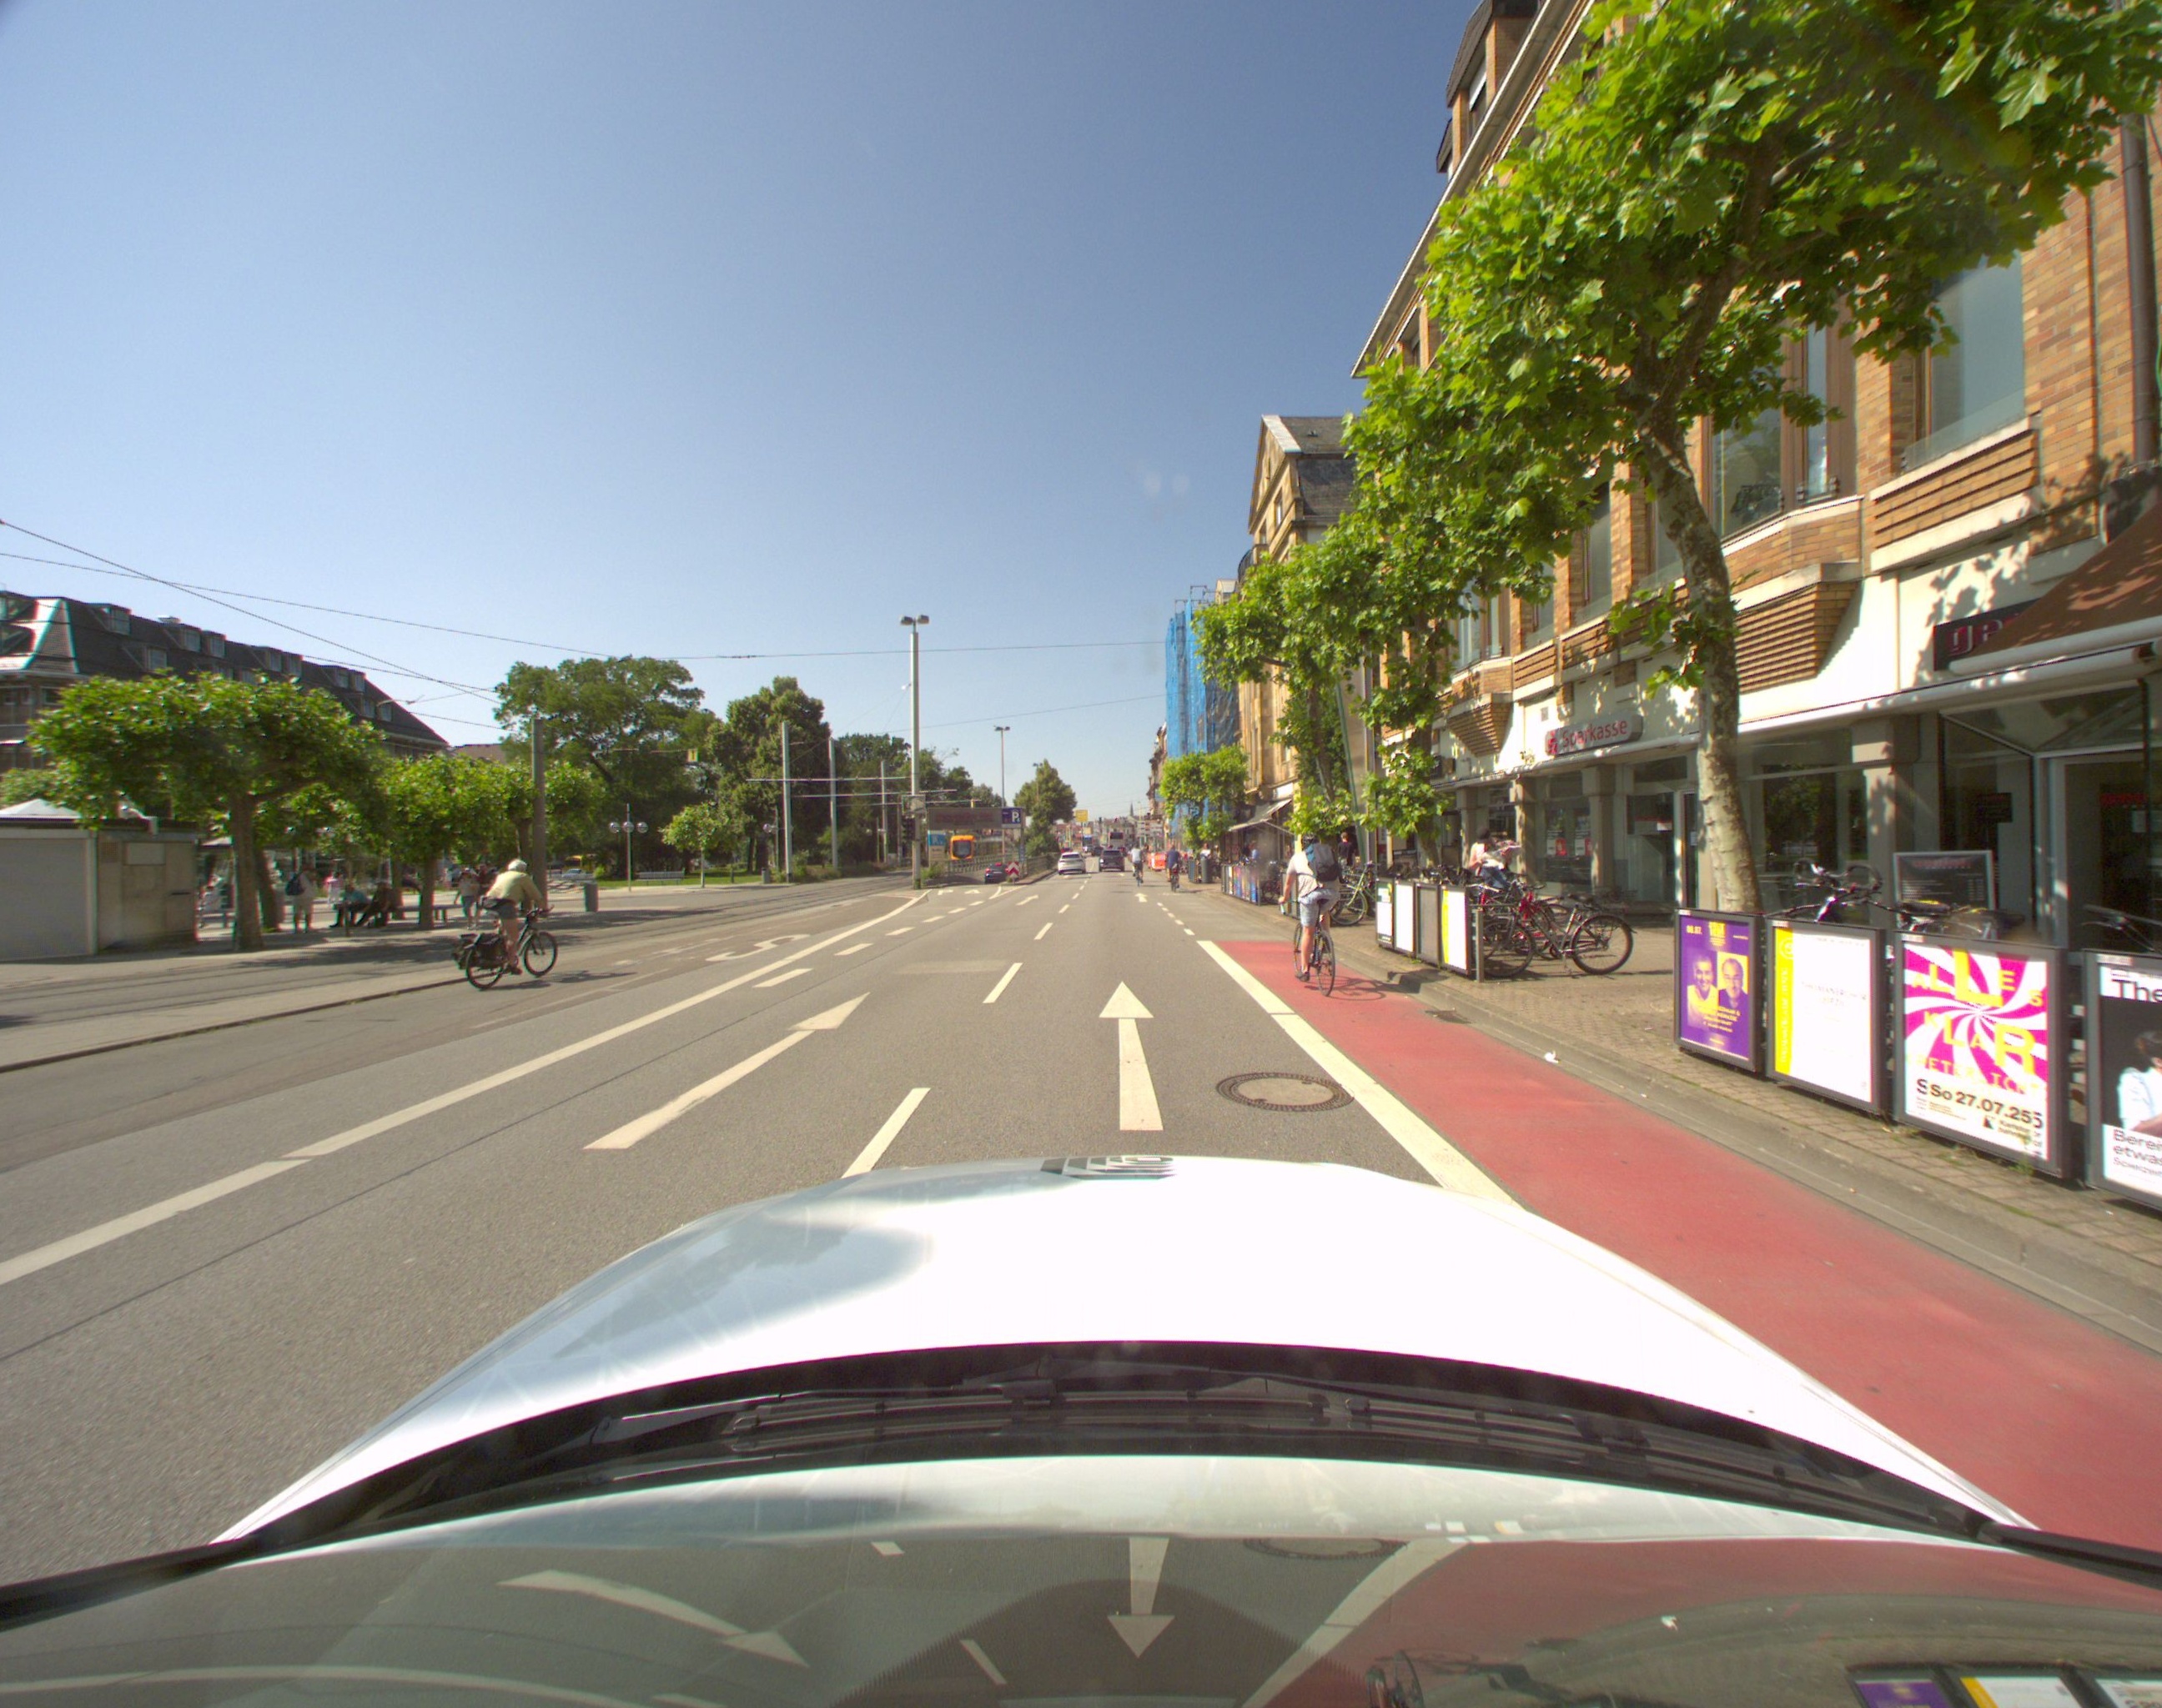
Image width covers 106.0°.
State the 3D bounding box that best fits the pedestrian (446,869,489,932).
[{"bbox_3d":[-16.461,1.234,21.868,0.521,1.609,0.628,-4,1,11],"label":"pedestrian"}]

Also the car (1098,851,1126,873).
[{"bbox_3d":[2.143,0.529,56.677,1.866,1.492,4.003,1,0,2],"label":"car"}]

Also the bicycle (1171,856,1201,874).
[{"bbox_3d":[6.323,0.668,49.267,1.747,1.018,0.483,-1,0,-1],"label":"bicycle"}]

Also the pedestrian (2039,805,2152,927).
[{"bbox_3d":[12.502,0.141,10.058,0.594,1.455,0.646,1,0,11],"label":"pedestrian"}]

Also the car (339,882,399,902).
[{"bbox_3d":[-59.721,3.162,68.402,1.752,1.508,3.994,1,0,-4],"label":"car"}]

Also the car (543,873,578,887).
[{"bbox_3d":[-60.238,3.028,94.350,1.752,1.508,3.994,1,0,-4],"label":"car"}]

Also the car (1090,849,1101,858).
[{"bbox_3d":[2.255,-0.078,125.177,1.448,1.300,3.339,1,0,-2],"label":"car"}]

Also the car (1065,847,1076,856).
[{"bbox_3d":[-1.536,-0.402,125.351,1.446,1.300,4.003,1,0,3],"label":"car"}]

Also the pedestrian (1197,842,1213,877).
[{"bbox_3d":[5.921,0.267,38.913,0.654,1.683,0.653,-1,-1,1],"label":"pedestrian"}]

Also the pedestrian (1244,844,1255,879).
[{"bbox_3d":[8.185,0.356,39.626,0.377,1.683,0.479,-2,-1,24],"label":"pedestrian"}]

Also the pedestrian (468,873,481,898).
[{"bbox_3d":[-40.009,2.094,53.713,0.413,1.609,0.493,-4,1,-8],"label":"pedestrian"}]

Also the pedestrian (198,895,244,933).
[{"bbox_3d":[-24.633,1.714,23.322,0.631,1.001,0.581,-4,1,4],"label":"pedestrian"}]

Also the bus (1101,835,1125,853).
[{"bbox_3d":[5.038,-1.553,128.435,2.963,2.776,8.631,1,0,-3],"label":"bus"}]

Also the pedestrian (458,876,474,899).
[{"bbox_3d":[-42.067,2.278,55.691,0.524,1.493,0.660,-4,1,-7],"label":"pedestrian"}]

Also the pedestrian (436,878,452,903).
[{"bbox_3d":[-43.079,2.451,55.075,0.492,1.609,0.619,-4,1,-8],"label":"pedestrian"}]

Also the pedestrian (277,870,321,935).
[{"bbox_3d":[-20.194,1.236,21.047,0.577,1.609,0.598,-4,1,-27],"label":"pedestrian"}]

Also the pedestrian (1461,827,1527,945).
[{"bbox_3d":[5.905,0.441,11.677,0.648,1.633,0.732,1,0,10],"label":"pedestrian"}]

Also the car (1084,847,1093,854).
[{"bbox_3d":[1.432,-0.659,146.111,1.446,1.300,4.003,1,0,3],"label":"car"}]

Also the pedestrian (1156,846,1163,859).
[{"bbox_3d":[10.250,-0.232,106.249,0.753,1.656,0.837,-5,-1,0],"label":"pedestrian"}]

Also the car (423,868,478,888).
[{"bbox_3d":[-59.932,2.261,77.544,1.752,1.663,4.837,1,0,-4],"label":"car"}]

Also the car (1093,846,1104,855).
[{"bbox_3d":[2.420,-0.457,114.659,1.447,1.300,3.342,1,0,0],"label":"car"}]

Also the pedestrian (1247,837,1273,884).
[{"bbox_3d":[6.316,0.230,28.777,0.599,1.626,0.642,-4,0,-11],"label":"pedestrian"}]

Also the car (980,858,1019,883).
[{"bbox_3d":[-5.289,1.064,53.300,1.985,1.508,4.003,1,0,2],"label":"car"}]

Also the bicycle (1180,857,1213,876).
[{"bbox_3d":[6.429,0.720,45.388,1.747,1.018,0.483,-1,0,-1],"label":"bicycle"}]

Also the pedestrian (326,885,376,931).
[{"bbox_3d":[-20.584,1.515,22.980,0.674,1.171,0.751,-4,1,-5],"label":"pedestrian"}]

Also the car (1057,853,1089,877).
[{"bbox_3d":[-0.507,0.731,54.291,1.851,1.507,4.003,1,0,2],"label":"car"}]

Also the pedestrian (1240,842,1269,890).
[{"bbox_3d":[6.004,0.402,28.252,0.695,1.626,0.699,-2,0,-11],"label":"pedestrian"}]

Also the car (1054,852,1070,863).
[{"bbox_3d":[-2.452,0.437,104.934,1.808,1.332,4.003,1,0,2],"label":"car"}]

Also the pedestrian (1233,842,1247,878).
[{"bbox_3d":[7.734,0.291,39.573,0.493,1.683,0.540,-3,-1,23],"label":"pedestrian"}]

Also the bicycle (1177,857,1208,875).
[{"bbox_3d":[6.479,0.690,47.314,1.747,1.018,0.483,-1,0,-1],"label":"bicycle"}]

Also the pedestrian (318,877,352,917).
[{"bbox_3d":[-32.980,1.894,36.005,0.674,1.706,0.706,-5,0,0],"label":"pedestrian"}]

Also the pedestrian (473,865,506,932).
[{"bbox_3d":[-15.772,1.177,21.719,0.528,1.733,0.582,-4,1,-29],"label":"pedestrian"}]

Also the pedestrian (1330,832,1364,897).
[{"bbox_3d":[7.450,0.289,22.874,0.664,1.781,0.986,-2,0,6],"label":"pedestrian"}]

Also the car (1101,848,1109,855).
[{"bbox_3d":[4.751,-0.494,163.700,1.447,1.300,3.341,1,0,0],"label":"car"}]

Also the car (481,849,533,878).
[{"bbox_3d":[-66.612,1.083,94.657,2.119,3.316,5.421,1,0,1],"label":"car"}]

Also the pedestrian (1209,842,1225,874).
[{"bbox_3d":[8.051,0.211,48.301,0.809,1.848,0.893,-3,-1,9],"label":"pedestrian"}]

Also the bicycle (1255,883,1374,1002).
[{"bbox_3d":[2.541,0.916,9.142,0.731,1.093,2.130,1,0,0],"label":"bicycle"}]

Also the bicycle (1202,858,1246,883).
[{"bbox_3d":[6.045,0.693,34.427,1.747,1.018,0.587,-2,0,-1],"label":"bicycle"}]

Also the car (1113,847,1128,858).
[{"bbox_3d":[5.403,-0.207,111.385,1.985,1.492,4.003,1,0,2],"label":"car"}]

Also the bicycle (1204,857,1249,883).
[{"bbox_3d":[6.034,0.652,33.849,1.747,1.018,0.483,-1,0,-1],"label":"bicycle"}]

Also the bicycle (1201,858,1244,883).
[{"bbox_3d":[6.084,0.704,34.976,1.747,1.018,0.557,-1,0,-1],"label":"bicycle"}]

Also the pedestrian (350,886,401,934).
[{"bbox_3d":[-19.480,1.535,22.496,0.674,1.246,0.751,-4,1,-5],"label":"pedestrian"}]

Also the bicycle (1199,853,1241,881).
[{"bbox_3d":[6.055,0.580,35.540,1.747,1.181,0.579,-1,0,-1],"label":"bicycle"}]
